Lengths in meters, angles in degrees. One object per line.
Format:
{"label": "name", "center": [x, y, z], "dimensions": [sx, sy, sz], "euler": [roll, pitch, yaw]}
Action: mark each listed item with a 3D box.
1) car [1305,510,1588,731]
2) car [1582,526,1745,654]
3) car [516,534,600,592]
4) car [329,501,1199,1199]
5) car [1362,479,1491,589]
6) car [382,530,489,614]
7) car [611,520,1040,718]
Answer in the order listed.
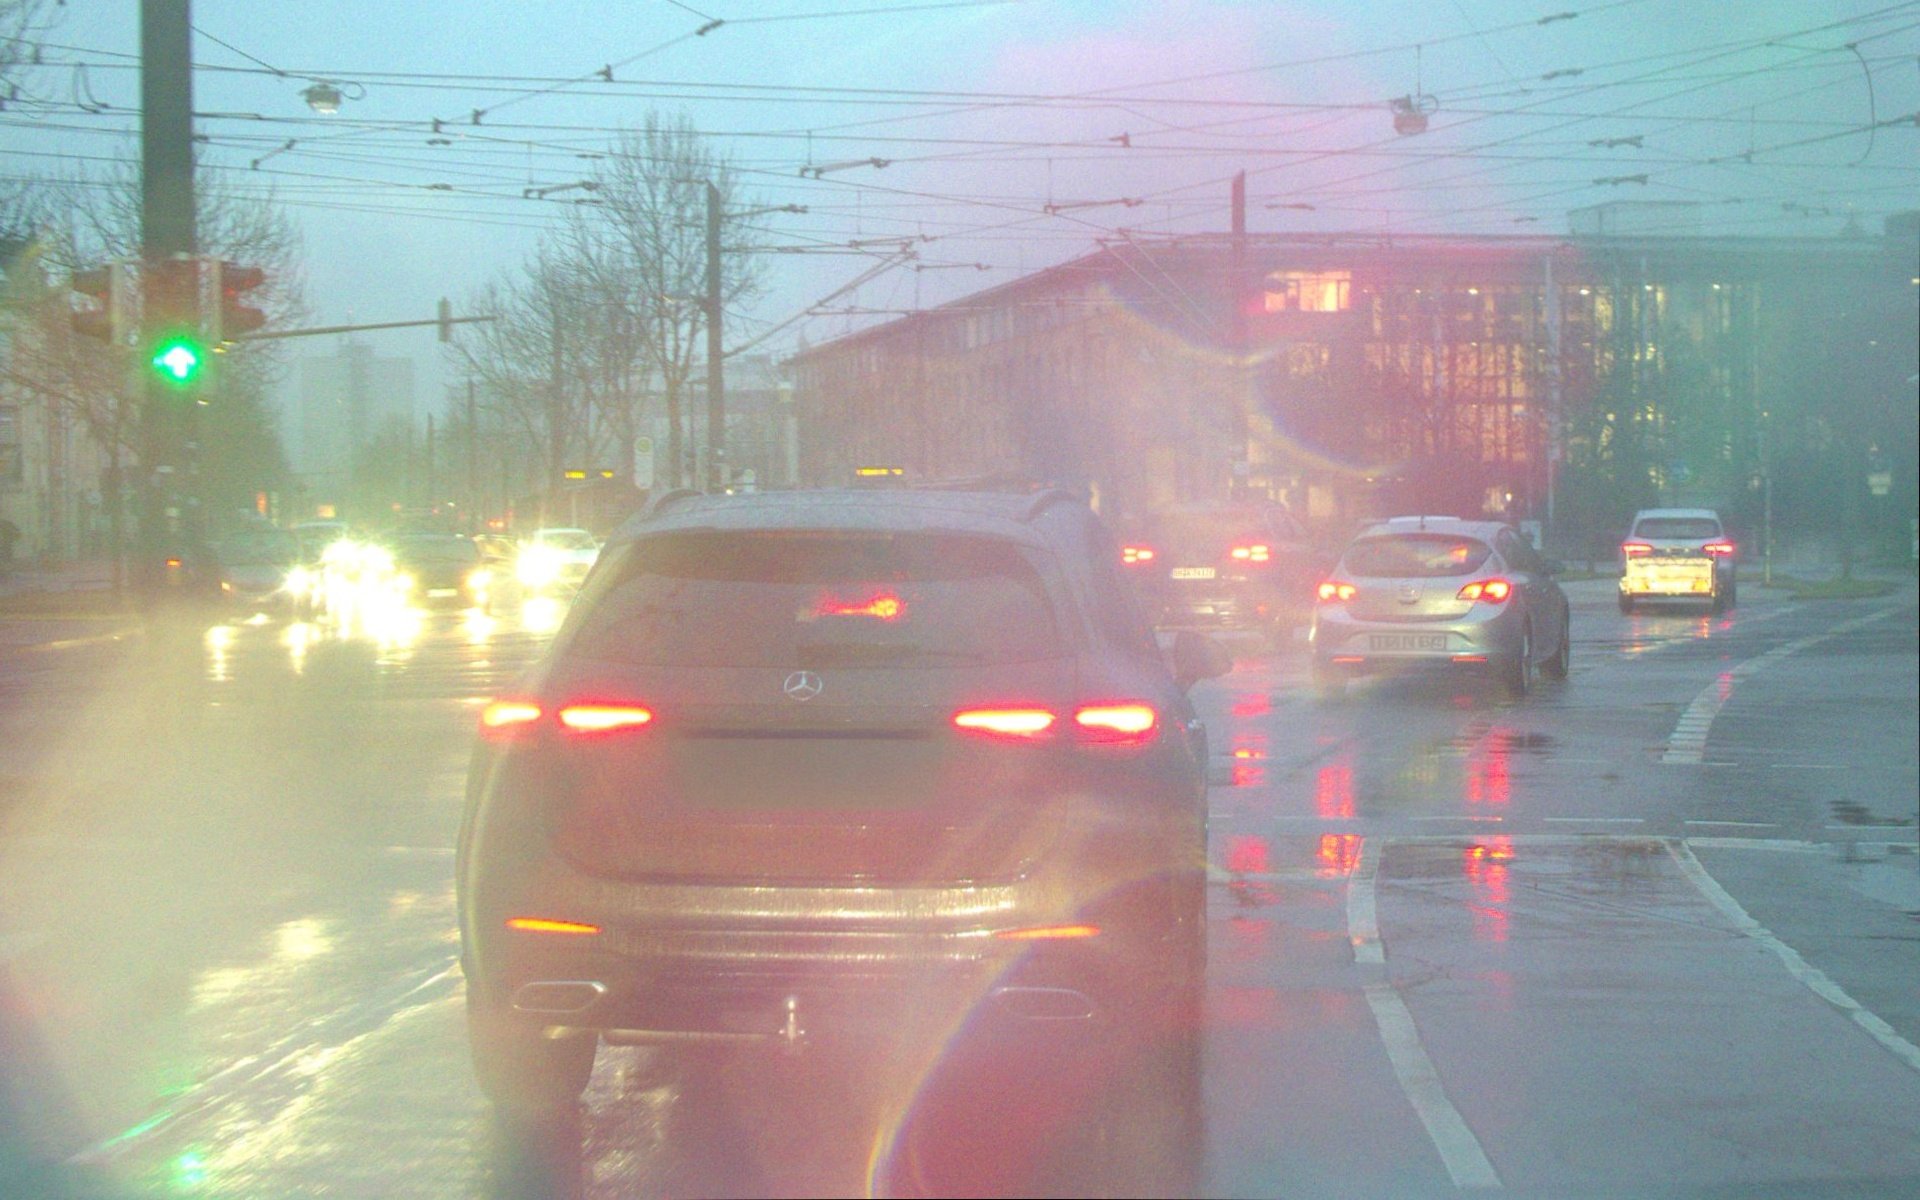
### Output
{"label": "car", "center": [4.299, 0.118, 29.879], "dimensions": [1.995, 1.759, 3.998], "euler": [0, 2, 14]}
{"label": "car", "center": [10.416, -0.179, 50.732], "dimensions": [1.995, 1.759, 3.997], "euler": [0, 2, 17]}
{"label": "car", "center": [-9.137, -0.859, 77.949], "dimensions": [1.536, 1.241, 4.089], "euler": [-1, 2, -12]}
{"label": "car", "center": [-0.467, 0.532, 9.945], "dimensions": [1.991, 1.610, 4.000], "euler": [-1, 2, 0]}
{"label": "car", "center": [7.831, -1.127, 57.426], "dimensions": [1.994, 1.759, 3.999], "euler": [0, 2, 10]}
{"label": "car", "center": [-9.487, -0.540, 62.417], "dimensions": [1.680, 1.452, 4.063], "euler": [-1, 1, -5]}
{"label": "car", "center": [-0.955, 0.094, 26.872], "dimensions": [1.995, 1.393, 3.996], "euler": [0, 2, 20]}
